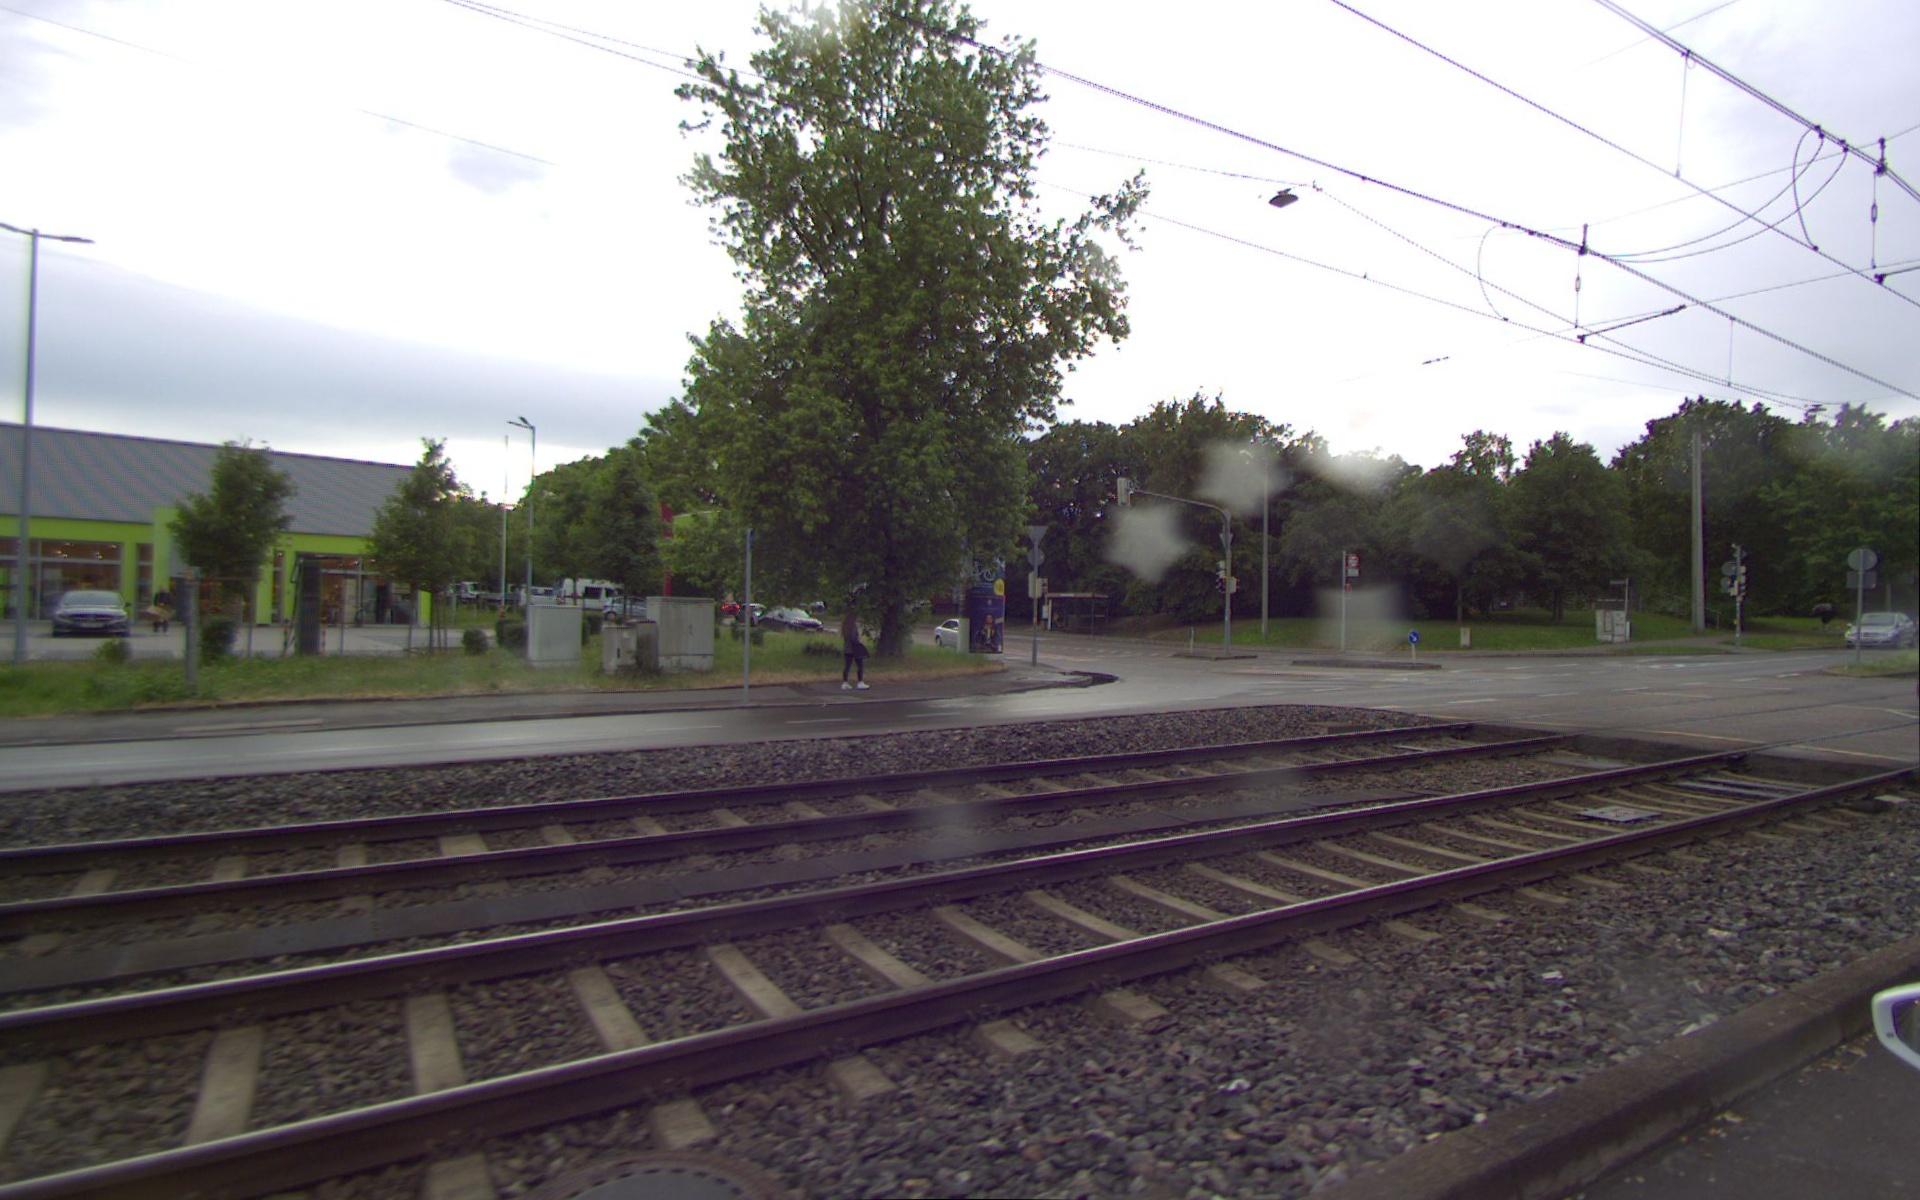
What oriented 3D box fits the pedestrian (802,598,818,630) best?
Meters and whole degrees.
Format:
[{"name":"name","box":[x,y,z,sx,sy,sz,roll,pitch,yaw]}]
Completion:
[{"name":"pedestrian","box":[-7.738,0.728,51.845,0.599,1.623,0.673,3,0,-25]}]

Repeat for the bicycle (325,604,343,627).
[{"name":"bicycle","box":[-28.437,0.706,45.618,0.529,0.995,1.597,1,0,-38]}]

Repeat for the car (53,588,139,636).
[{"name":"car","box":[-26.871,0.347,31.344,1.760,1.363,4.331,2,-1,-38]}]

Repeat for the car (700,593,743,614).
[{"name":"car","box":[-20.535,0.285,86.458,1.829,1.554,4.150,2,0,-42]}]

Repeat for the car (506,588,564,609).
[{"name":"car","box":[-31.567,-0.123,74.730,3.663,1.502,1.582,0,-1,-4]}]

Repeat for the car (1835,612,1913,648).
[{"name":"car","box":[41.813,1.371,45.954,3.821,1.574,1.710,0,-2,-33]}]

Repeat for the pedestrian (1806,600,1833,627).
[{"name":"pedestrian","box":[51.444,0.804,60.117,1.030,1.622,1.005,1,0,-38]}]

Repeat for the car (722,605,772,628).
[{"name":"car","box":[-14.793,1.149,69.726,1.679,1.502,3.952,1,-1,-41]}]

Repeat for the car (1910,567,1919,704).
[{"name":"car","box":[16.214,0.602,14.726,2.114,2.314,5.054,0,0,29]}]

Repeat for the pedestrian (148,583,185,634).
[{"name":"pedestrian","box":[-25.993,0.262,32.916,0.750,1.618,0.797,3,0,-30]}]

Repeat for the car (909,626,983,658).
[{"name":"car","box":[-0.723,1.940,46.883,1.572,1.456,4.393,1,-2,-29]}]

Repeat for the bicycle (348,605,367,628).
[{"name":"bicycle","box":[-27.700,0.749,46.164,0.529,0.995,1.597,1,0,-38]}]

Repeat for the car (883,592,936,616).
[{"name":"car","box":[-4.331,0.335,85.310,1.981,1.829,5.094,3,-1,-36]}]

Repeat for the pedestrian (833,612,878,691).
[{"name":"pedestrian","box":[-2.124,1.050,20.432,0.661,1.552,0.588,3,0,-32]}]
